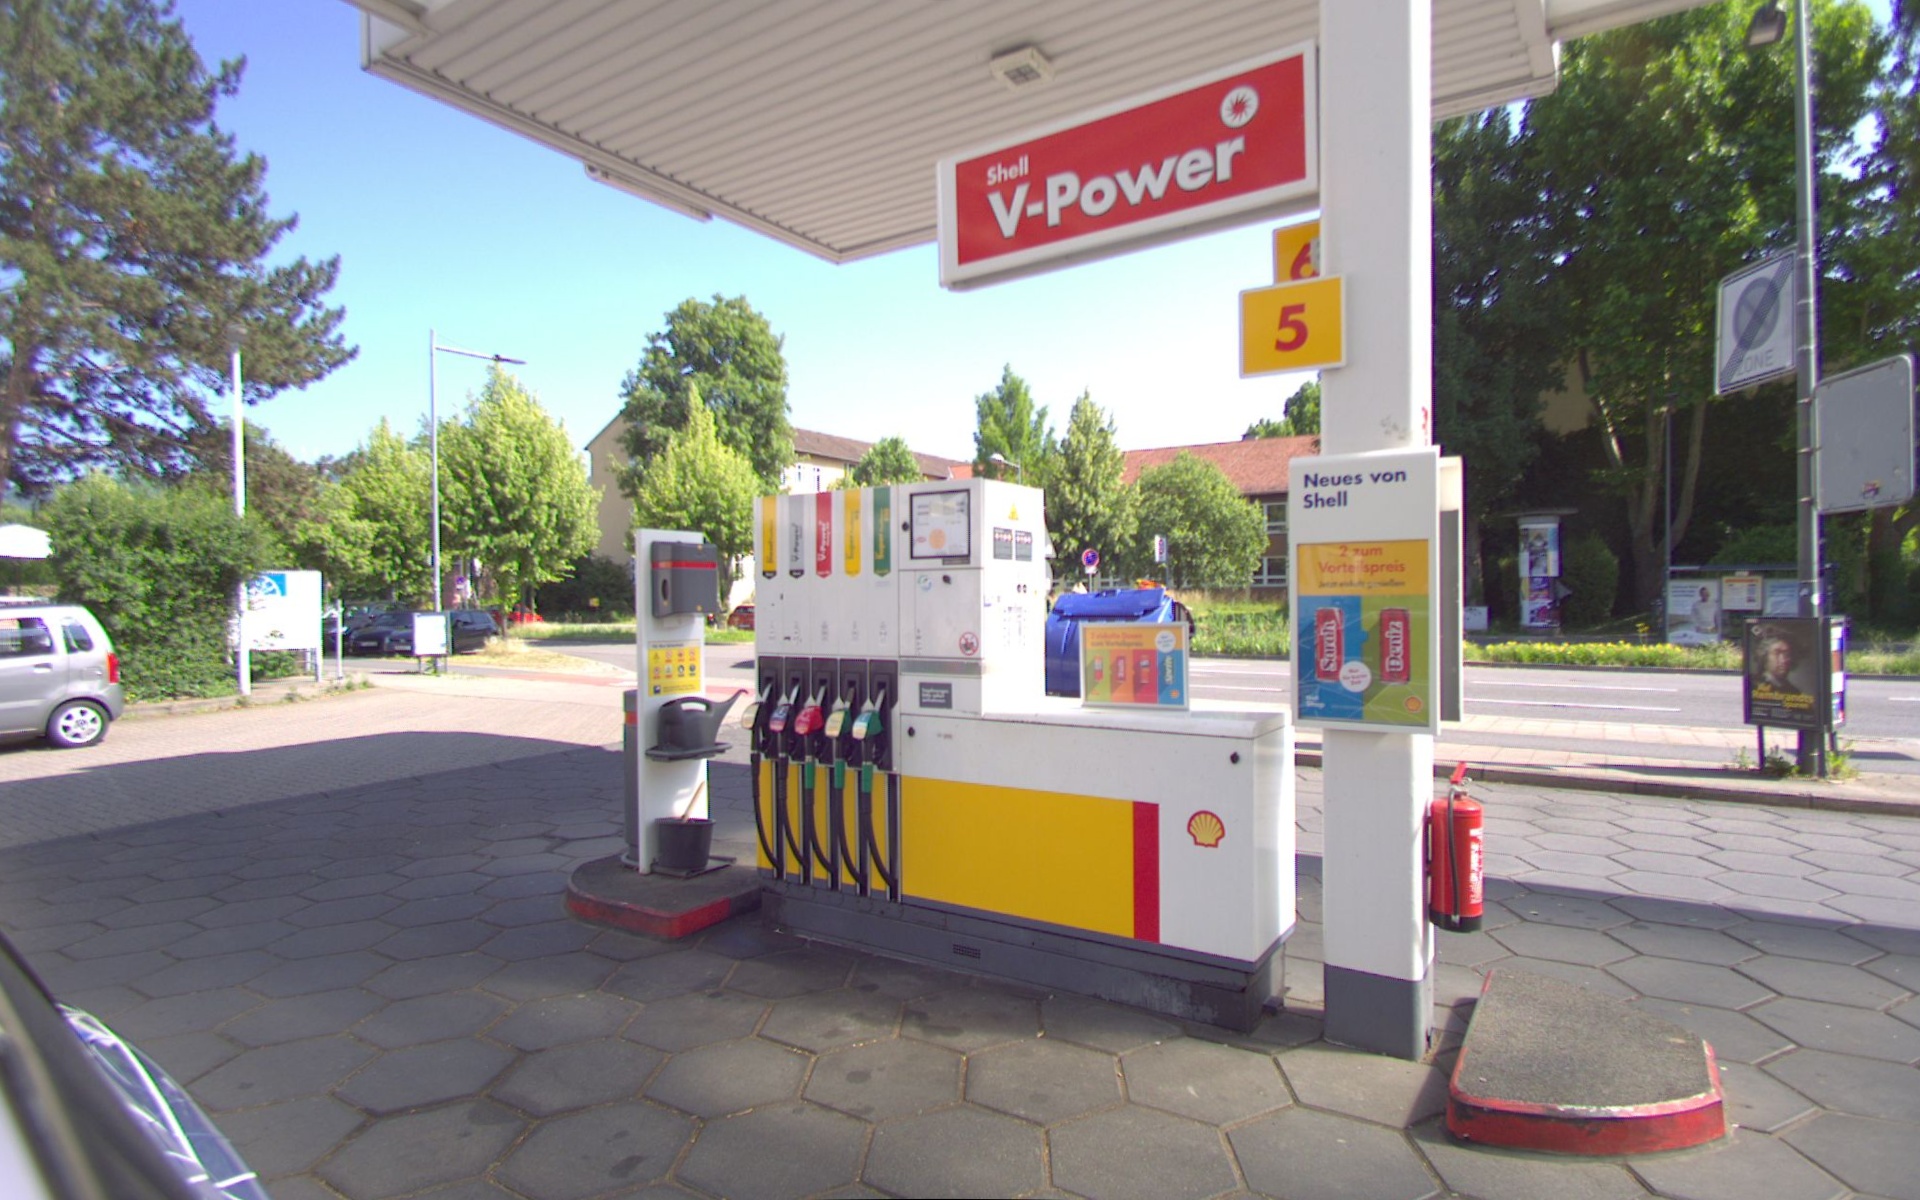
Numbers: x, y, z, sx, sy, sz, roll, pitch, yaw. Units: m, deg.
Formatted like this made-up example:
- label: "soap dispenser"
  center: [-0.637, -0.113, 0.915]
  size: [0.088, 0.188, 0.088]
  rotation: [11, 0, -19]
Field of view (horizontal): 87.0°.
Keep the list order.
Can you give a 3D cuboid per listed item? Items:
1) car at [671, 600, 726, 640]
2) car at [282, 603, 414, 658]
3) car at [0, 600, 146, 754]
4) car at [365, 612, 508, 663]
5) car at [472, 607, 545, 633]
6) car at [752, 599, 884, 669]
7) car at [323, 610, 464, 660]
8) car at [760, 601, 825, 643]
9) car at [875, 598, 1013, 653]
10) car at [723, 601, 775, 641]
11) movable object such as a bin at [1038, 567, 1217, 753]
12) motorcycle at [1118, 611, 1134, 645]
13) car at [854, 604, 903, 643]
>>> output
- label: "car"
  center: [-12.175, 0.958, 47.345]
  size: [1.852, 1.735, 4.231]
  rotation: [1, -2, -5]
- label: "car"
  center: [-20.454, 1.001, 34.056]
  size: [1.682, 1.733, 4.401]
  rotation: [0, -1, 1]
- label: "car"
  center: [-11.359, 0.872, 10.973]
  size: [1.689, 1.629, 3.619]
  rotation: [-1, 1, 35]
- label: "car"
  center: [-15.970, 1.129, 31.123]
  size: [1.859, 1.428, 4.217]
  rotation: [0, -2, 7]
- label: "car"
  center: [-25.432, 1.164, 57.120]
  size: [1.864, 1.401, 3.708]
  rotation: [1, -2, 15]
- label: "car"
  center: [-3.710, 0.853, 27.267]
  size: [1.944, 1.719, 4.284]
  rotation: [-1, 0, 16]
- label: "car"
  center: [-18.176, 1.114, 32.699]
  size: [1.859, 1.493, 4.217]
  rotation: [0, -1, 7]
- label: "car"
  center: [-7.398, 0.977, 45.098]
  size: [1.857, 1.735, 4.220]
  rotation: [1, -1, 4]
- label: "car"
  center: [-0.577, 0.833, 34.730]
  size: [4.375, 1.782, 1.979]
  rotation: [-1, 0, 31]
- label: "car"
  center: [-9.604, 0.975, 46.380]
  size: [1.852, 1.735, 4.231]
  rotation: [1, -2, -5]
- label: "movable object such as a bin"
  center: [1.703, 0.577, 10.180]
  size: [1.334, 1.701, 1.327]
  rotation: [0, -2, 35]
- label: "motorcycle"
  center: [5.873, 0.977, 35.796]
  size: [0.551, 1.122, 1.753]
  rotation: [-1, 0, 10]
- label: "car"
  center: [-3.312, 0.974, 41.952]
  size: [1.854, 1.471, 4.228]
  rotation: [1, -1, -2]
